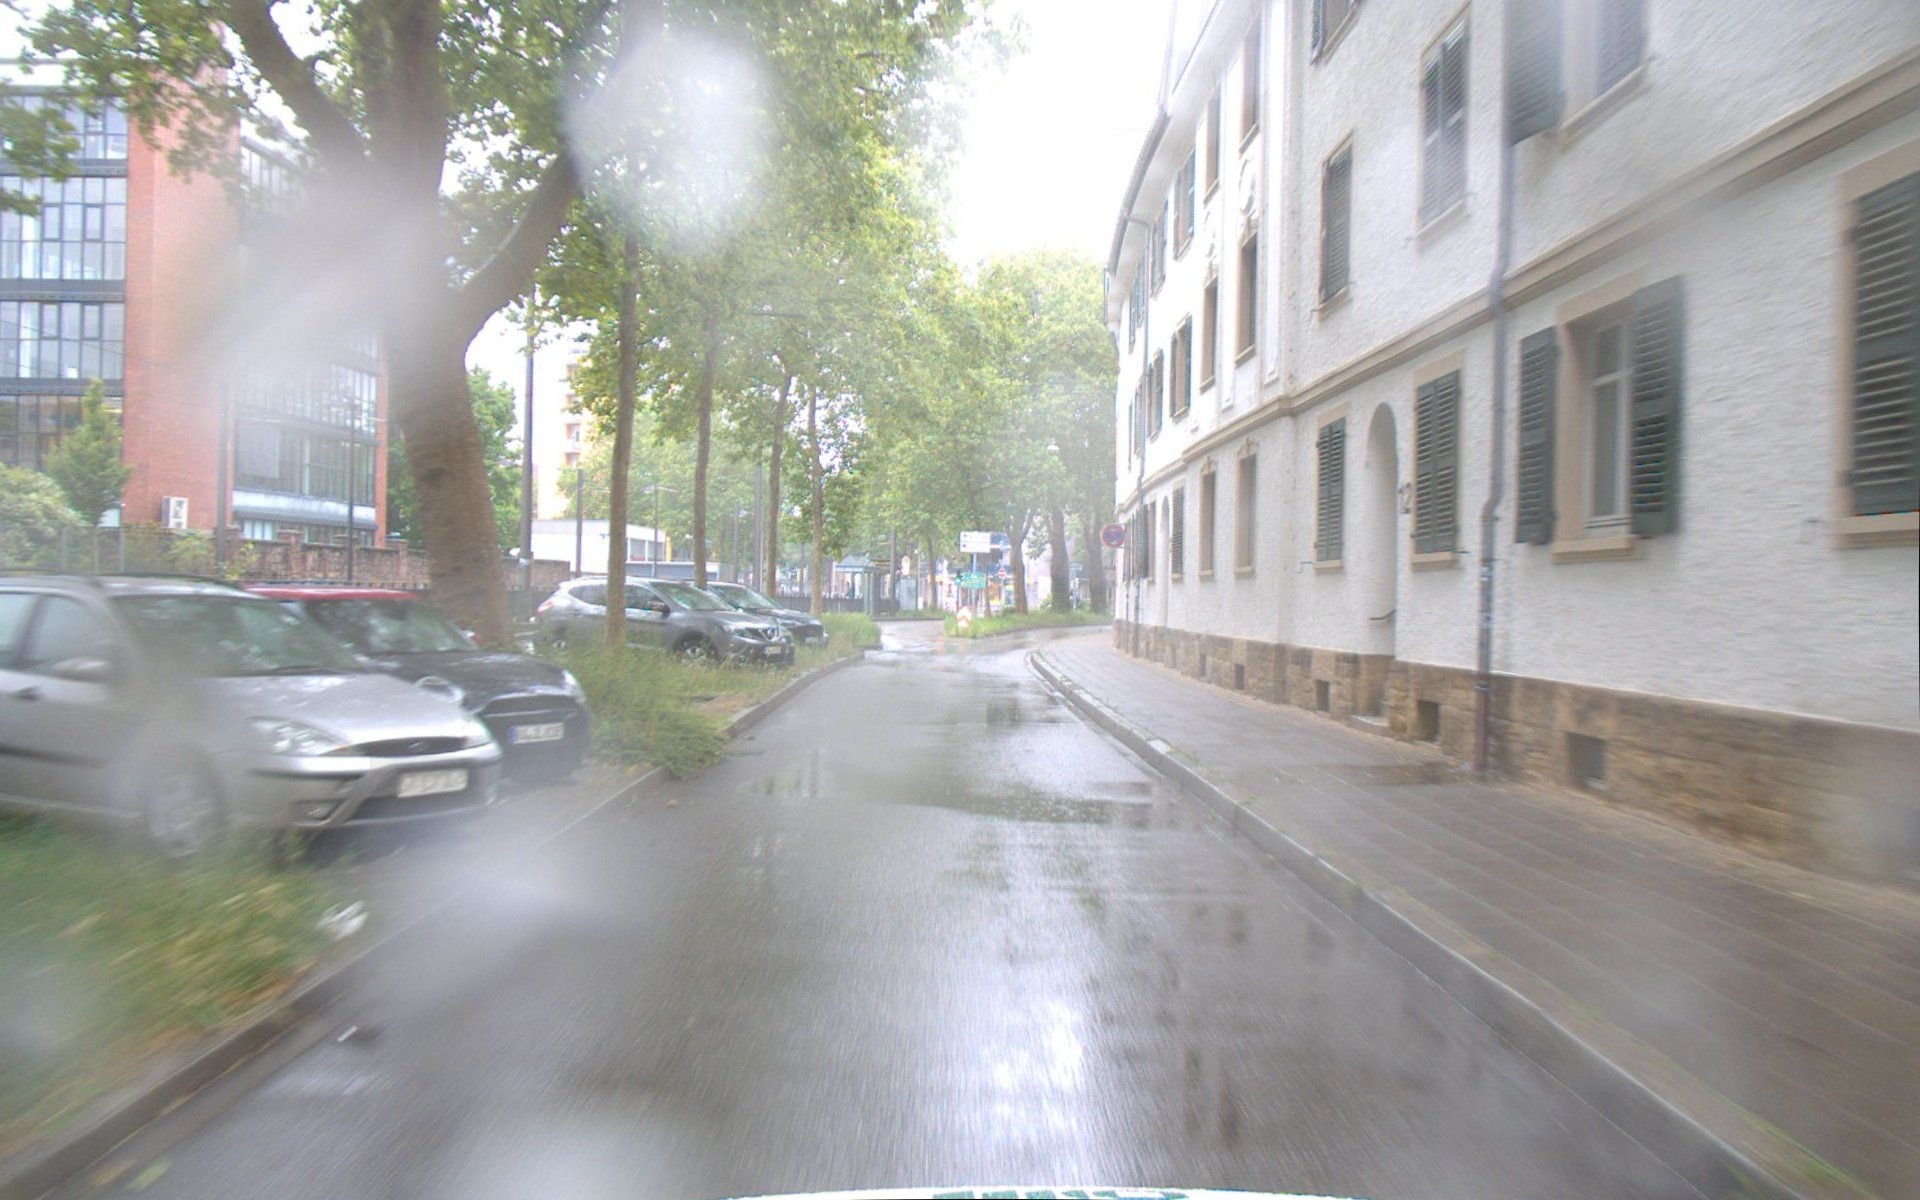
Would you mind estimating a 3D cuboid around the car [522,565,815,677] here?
[{"bbox_3d":[-4.733,0.296,26.803,4.370,1.625,1.922,2,1,26],"label":"car"}]

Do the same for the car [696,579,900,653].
[{"bbox_3d":[-3.682,0.352,37.558,4.270,1.539,1.957,0,2,30],"label":"car"}]

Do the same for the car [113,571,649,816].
[{"bbox_3d":[-4.278,0.582,12.132,3.734,1.547,1.719,0,0,30],"label":"car"}]

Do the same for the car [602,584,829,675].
[{"bbox_3d":[-5.137,0.579,34.636,4.434,1.744,1.957,0,2,31],"label":"car"}]

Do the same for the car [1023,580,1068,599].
[{"bbox_3d":[7.921,-0.987,153.641,3.968,1.625,1.969,3,0,-43],"label":"car"}]

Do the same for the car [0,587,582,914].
[{"bbox_3d":[-4.466,0.689,9.507,4.460,1.508,1.772,0,0,29],"label":"car"}]
